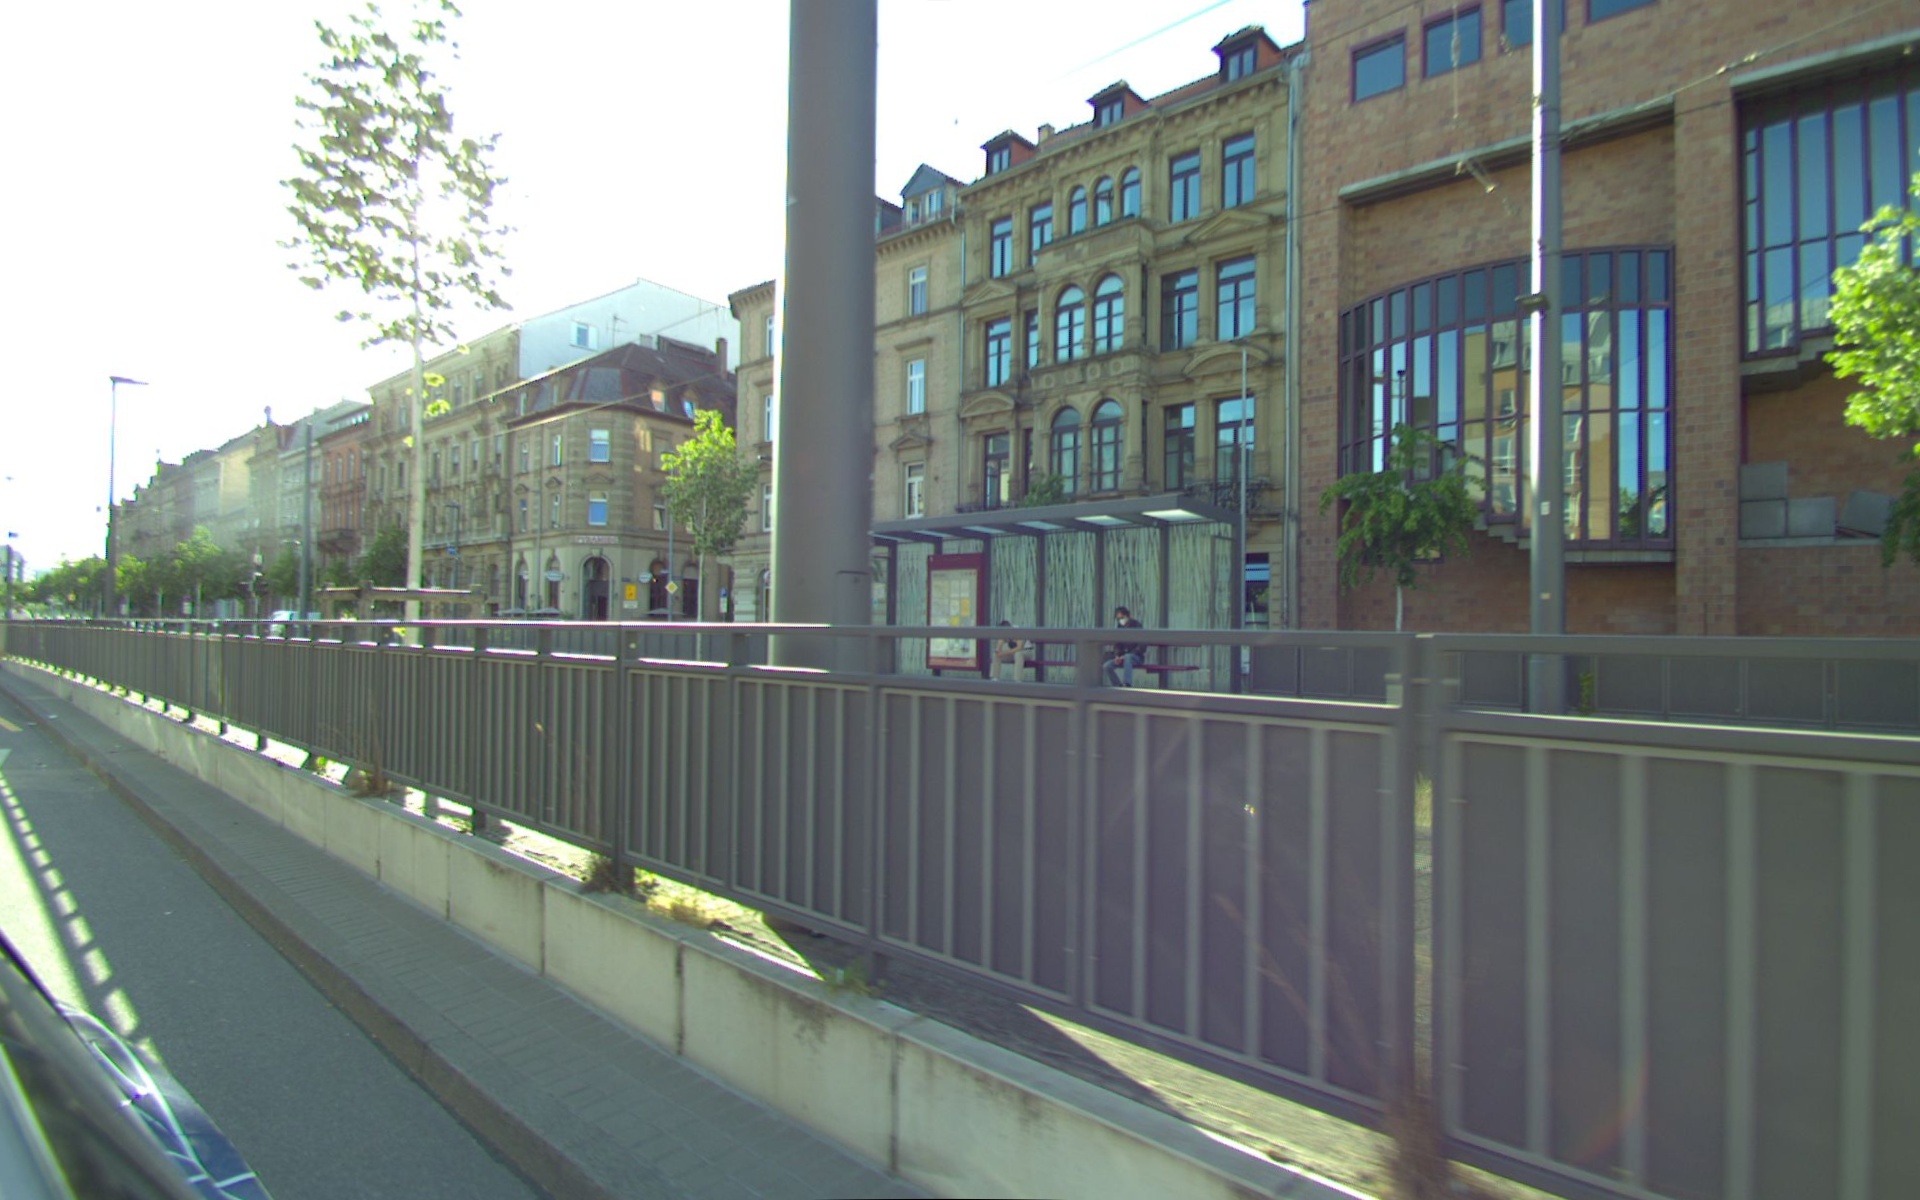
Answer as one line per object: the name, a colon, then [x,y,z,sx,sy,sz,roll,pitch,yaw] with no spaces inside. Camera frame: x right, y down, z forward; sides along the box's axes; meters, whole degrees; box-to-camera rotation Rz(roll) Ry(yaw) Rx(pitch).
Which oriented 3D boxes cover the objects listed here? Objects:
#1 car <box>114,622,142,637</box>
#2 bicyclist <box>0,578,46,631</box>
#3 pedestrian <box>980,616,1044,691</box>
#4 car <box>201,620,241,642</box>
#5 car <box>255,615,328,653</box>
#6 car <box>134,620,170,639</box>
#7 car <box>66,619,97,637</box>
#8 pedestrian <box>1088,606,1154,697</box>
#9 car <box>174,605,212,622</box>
car: [-88.576,3.136,107.744,4.027,1.490,1.730,-1,0,42]
bicyclist: [-32.209,0.167,34.732,0.848,1.787,0.880,0,-1,16]
pedestrian: [0.842,0.869,16.438,0.721,1.177,0.713,-1,-4,42]
car: [-61.785,2.569,84.594,4.545,1.671,1.917,-1,0,44]
car: [-35.844,1.803,54.219,4.579,1.895,1.974,-1,0,39]
car: [-79.046,2.854,98.964,4.886,1.710,1.973,-1,0,41]
car: [-84.322,2.703,97.142,4.476,1.652,1.777,-1,-2,43]
pedestrian: [2.403,0.765,15.127,0.721,1.319,0.639,-1,-4,42]
car: [-70.418,1.252,92.895,4.306,1.449,1.973,-1,-2,41]
